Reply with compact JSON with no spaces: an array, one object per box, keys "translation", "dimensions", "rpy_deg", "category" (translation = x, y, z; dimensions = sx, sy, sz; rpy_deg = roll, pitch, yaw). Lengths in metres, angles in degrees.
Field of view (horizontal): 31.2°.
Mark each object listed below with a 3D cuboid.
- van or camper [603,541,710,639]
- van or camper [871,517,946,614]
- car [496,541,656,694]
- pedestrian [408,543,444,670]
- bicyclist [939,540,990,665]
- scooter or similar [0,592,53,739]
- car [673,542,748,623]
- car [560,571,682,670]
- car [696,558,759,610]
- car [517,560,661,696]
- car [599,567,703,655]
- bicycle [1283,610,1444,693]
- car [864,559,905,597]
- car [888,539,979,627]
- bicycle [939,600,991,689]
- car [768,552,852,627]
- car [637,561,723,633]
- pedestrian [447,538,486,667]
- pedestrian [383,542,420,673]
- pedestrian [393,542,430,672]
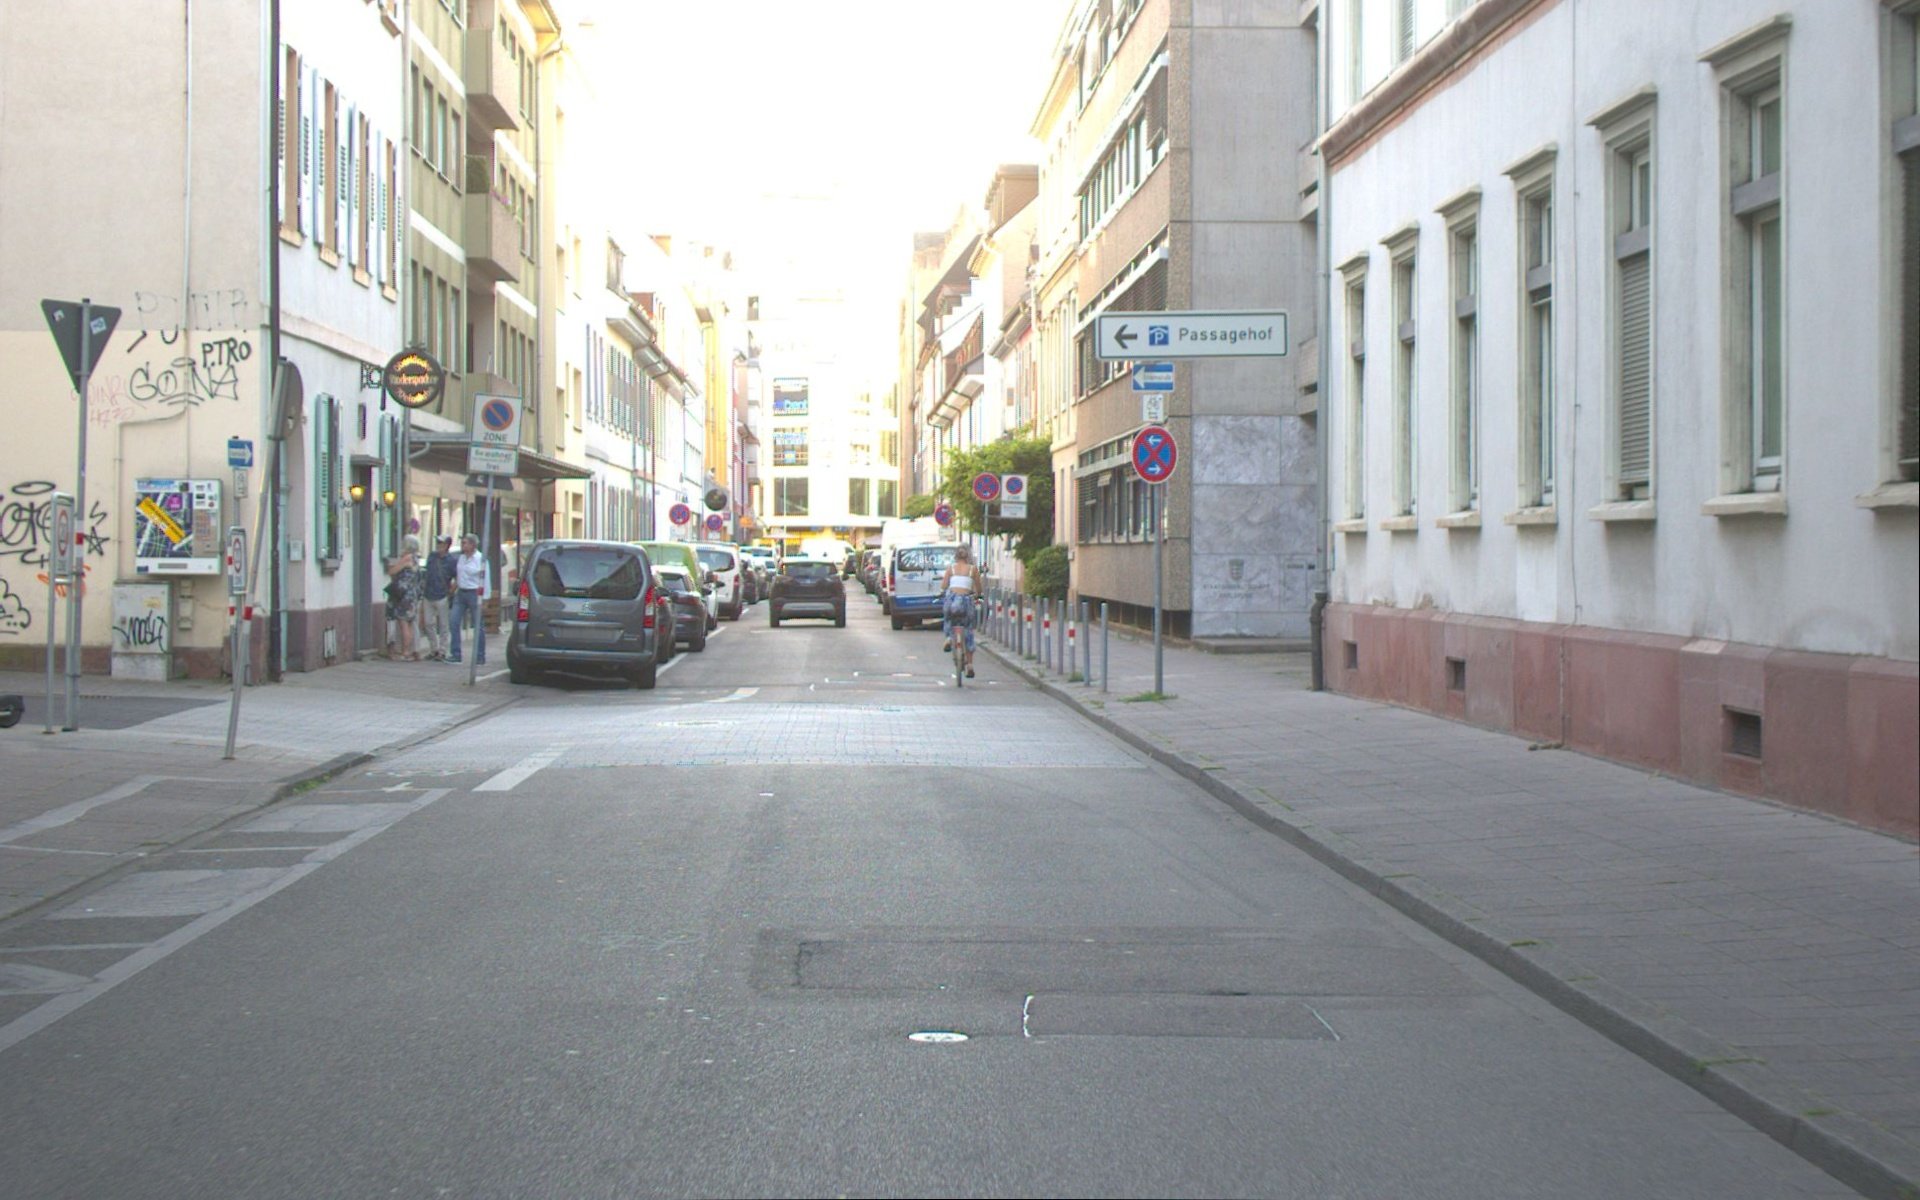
[{"translation":[-5.825,-0.207,66.356],"dimensions":[1.772,1.842,4.178],"rpy_deg":[0,1,-1],"category":"van or camper"},{"translation":[-1.468,-0.983,97.539],"dimensions":[2.050,2.628,7.063],"rpy_deg":[0,1,-1],"category":"van or camper"},{"translation":[-4.801,0.193,43.438],"dimensions":[1.876,1.805,4.451],"rpy_deg":[1,0,-5],"category":"car"},{"translation":[-7.344,0.088,47.277],"dimensions":[0.406,1.744,0.470],"rpy_deg":[1,0,0],"category":"pedestrian"},{"translation":[0.052,0.033,43.748],"dimensions":[0.621,1.569,0.683],"rpy_deg":[1,0,-1],"category":"bicyclist"},{"translation":[-8.263,0.514,28.380],"dimensions":[1.361,1.197,0.533],"rpy_deg":[3,-1,-26],"category":"scooter or similar"},{"translation":[-6.380,-0.464,88.337],"dimensions":[1.862,2.007,5.107],"rpy_deg":[0,1,-3],"category":"car"},{"translation":[-5.224,0.295,53.348],"dimensions":[1.624,1.480,3.878],"rpy_deg":[0,0,-2],"category":"car"},{"translation":[-7.591,-0.523,112.694],"dimensions":[1.802,1.671,4.490],"rpy_deg":[0,1,-1],"category":"car"},{"translation":[-5.191,0.358,48.559],"dimensions":[1.772,1.805,4.511],"rpy_deg":[1,0,-3],"category":"car"},{"translation":[-5.205,0.169,58.269],"dimensions":[1.624,1.411,3.981],"rpy_deg":[1,0,-4],"category":"car"},{"translation":[4.625,0.592,39.391],"dimensions":[1.739,0.920,0.538],"rpy_deg":[1,0,-9],"category":"bicycle"},{"translation":[-3.244,-0.938,147.279],"dimensions":[1.653,1.555,3.606],"rpy_deg":[1,0,-2],"category":"car"},{"translation":[-0.634,-0.399,77.415],"dimensions":[1.936,1.891,5.277],"rpy_deg":[0,1,-2],"category":"car"},{"translation":[0.053,0.553,43.695],"dimensions":[0.613,1.078,1.809],"rpy_deg":[1,0,-1],"category":"bicycle"},{"translation":[-3.406,-0.244,78.287],"dimensions":[1.819,1.612,4.000],"rpy_deg":[1,0,-2],"category":"car"},{"translation":[-6.144,-0.070,75.610],"dimensions":[1.662,1.444,3.521],"rpy_deg":[4,0,-2],"category":"car"},{"translation":[-6.710,0.032,46.715],"dimensions":[0.449,1.744,0.470],"rpy_deg":[1,0,0],"category":"pedestrian"},{"translation":[-7.472,0.096,46.017],"dimensions":[0.406,1.744,0.470],"rpy_deg":[1,0,0],"category":"pedestrian"},{"translation":[-7.428,0.092,46.551],"dimensions":[0.406,1.744,0.470],"rpy_deg":[1,0,0],"category":"pedestrian"}]
